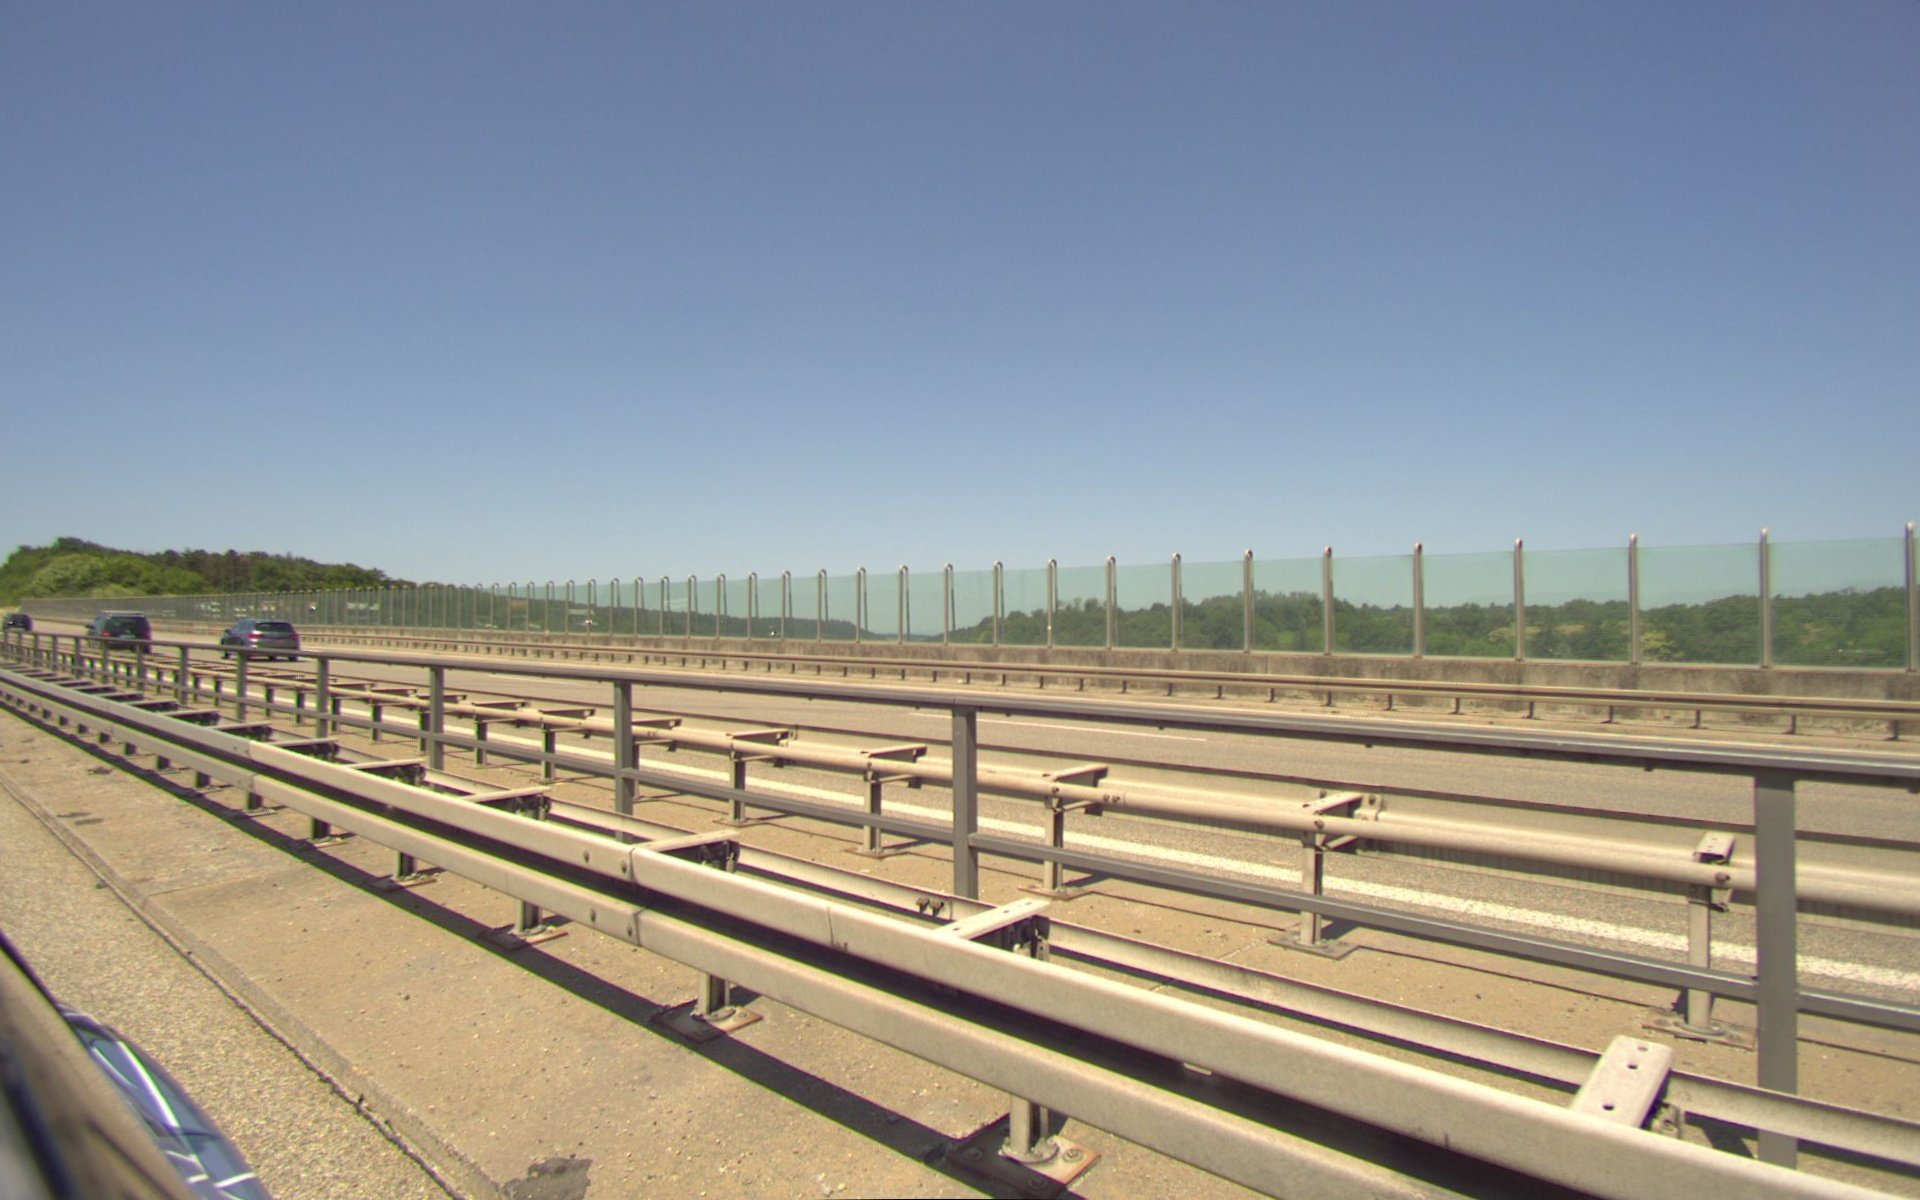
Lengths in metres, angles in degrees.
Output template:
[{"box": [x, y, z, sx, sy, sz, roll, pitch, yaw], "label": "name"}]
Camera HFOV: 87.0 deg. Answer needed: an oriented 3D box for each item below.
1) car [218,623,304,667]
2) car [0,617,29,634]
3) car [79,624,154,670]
[{"box": [-26.699, 1.708, 38.613, 3.998, 1.559, 1.736, 0, -3, 41], "label": "car"}, {"box": [-90.179, 2.402, 96.376, 4.386, 1.581, 1.761, -1, -3, 43], "label": "car"}, {"box": [-34.899, 1.966, 41.848, 4.098, 1.734, 1.736, -4, -2, 41], "label": "car"}]
